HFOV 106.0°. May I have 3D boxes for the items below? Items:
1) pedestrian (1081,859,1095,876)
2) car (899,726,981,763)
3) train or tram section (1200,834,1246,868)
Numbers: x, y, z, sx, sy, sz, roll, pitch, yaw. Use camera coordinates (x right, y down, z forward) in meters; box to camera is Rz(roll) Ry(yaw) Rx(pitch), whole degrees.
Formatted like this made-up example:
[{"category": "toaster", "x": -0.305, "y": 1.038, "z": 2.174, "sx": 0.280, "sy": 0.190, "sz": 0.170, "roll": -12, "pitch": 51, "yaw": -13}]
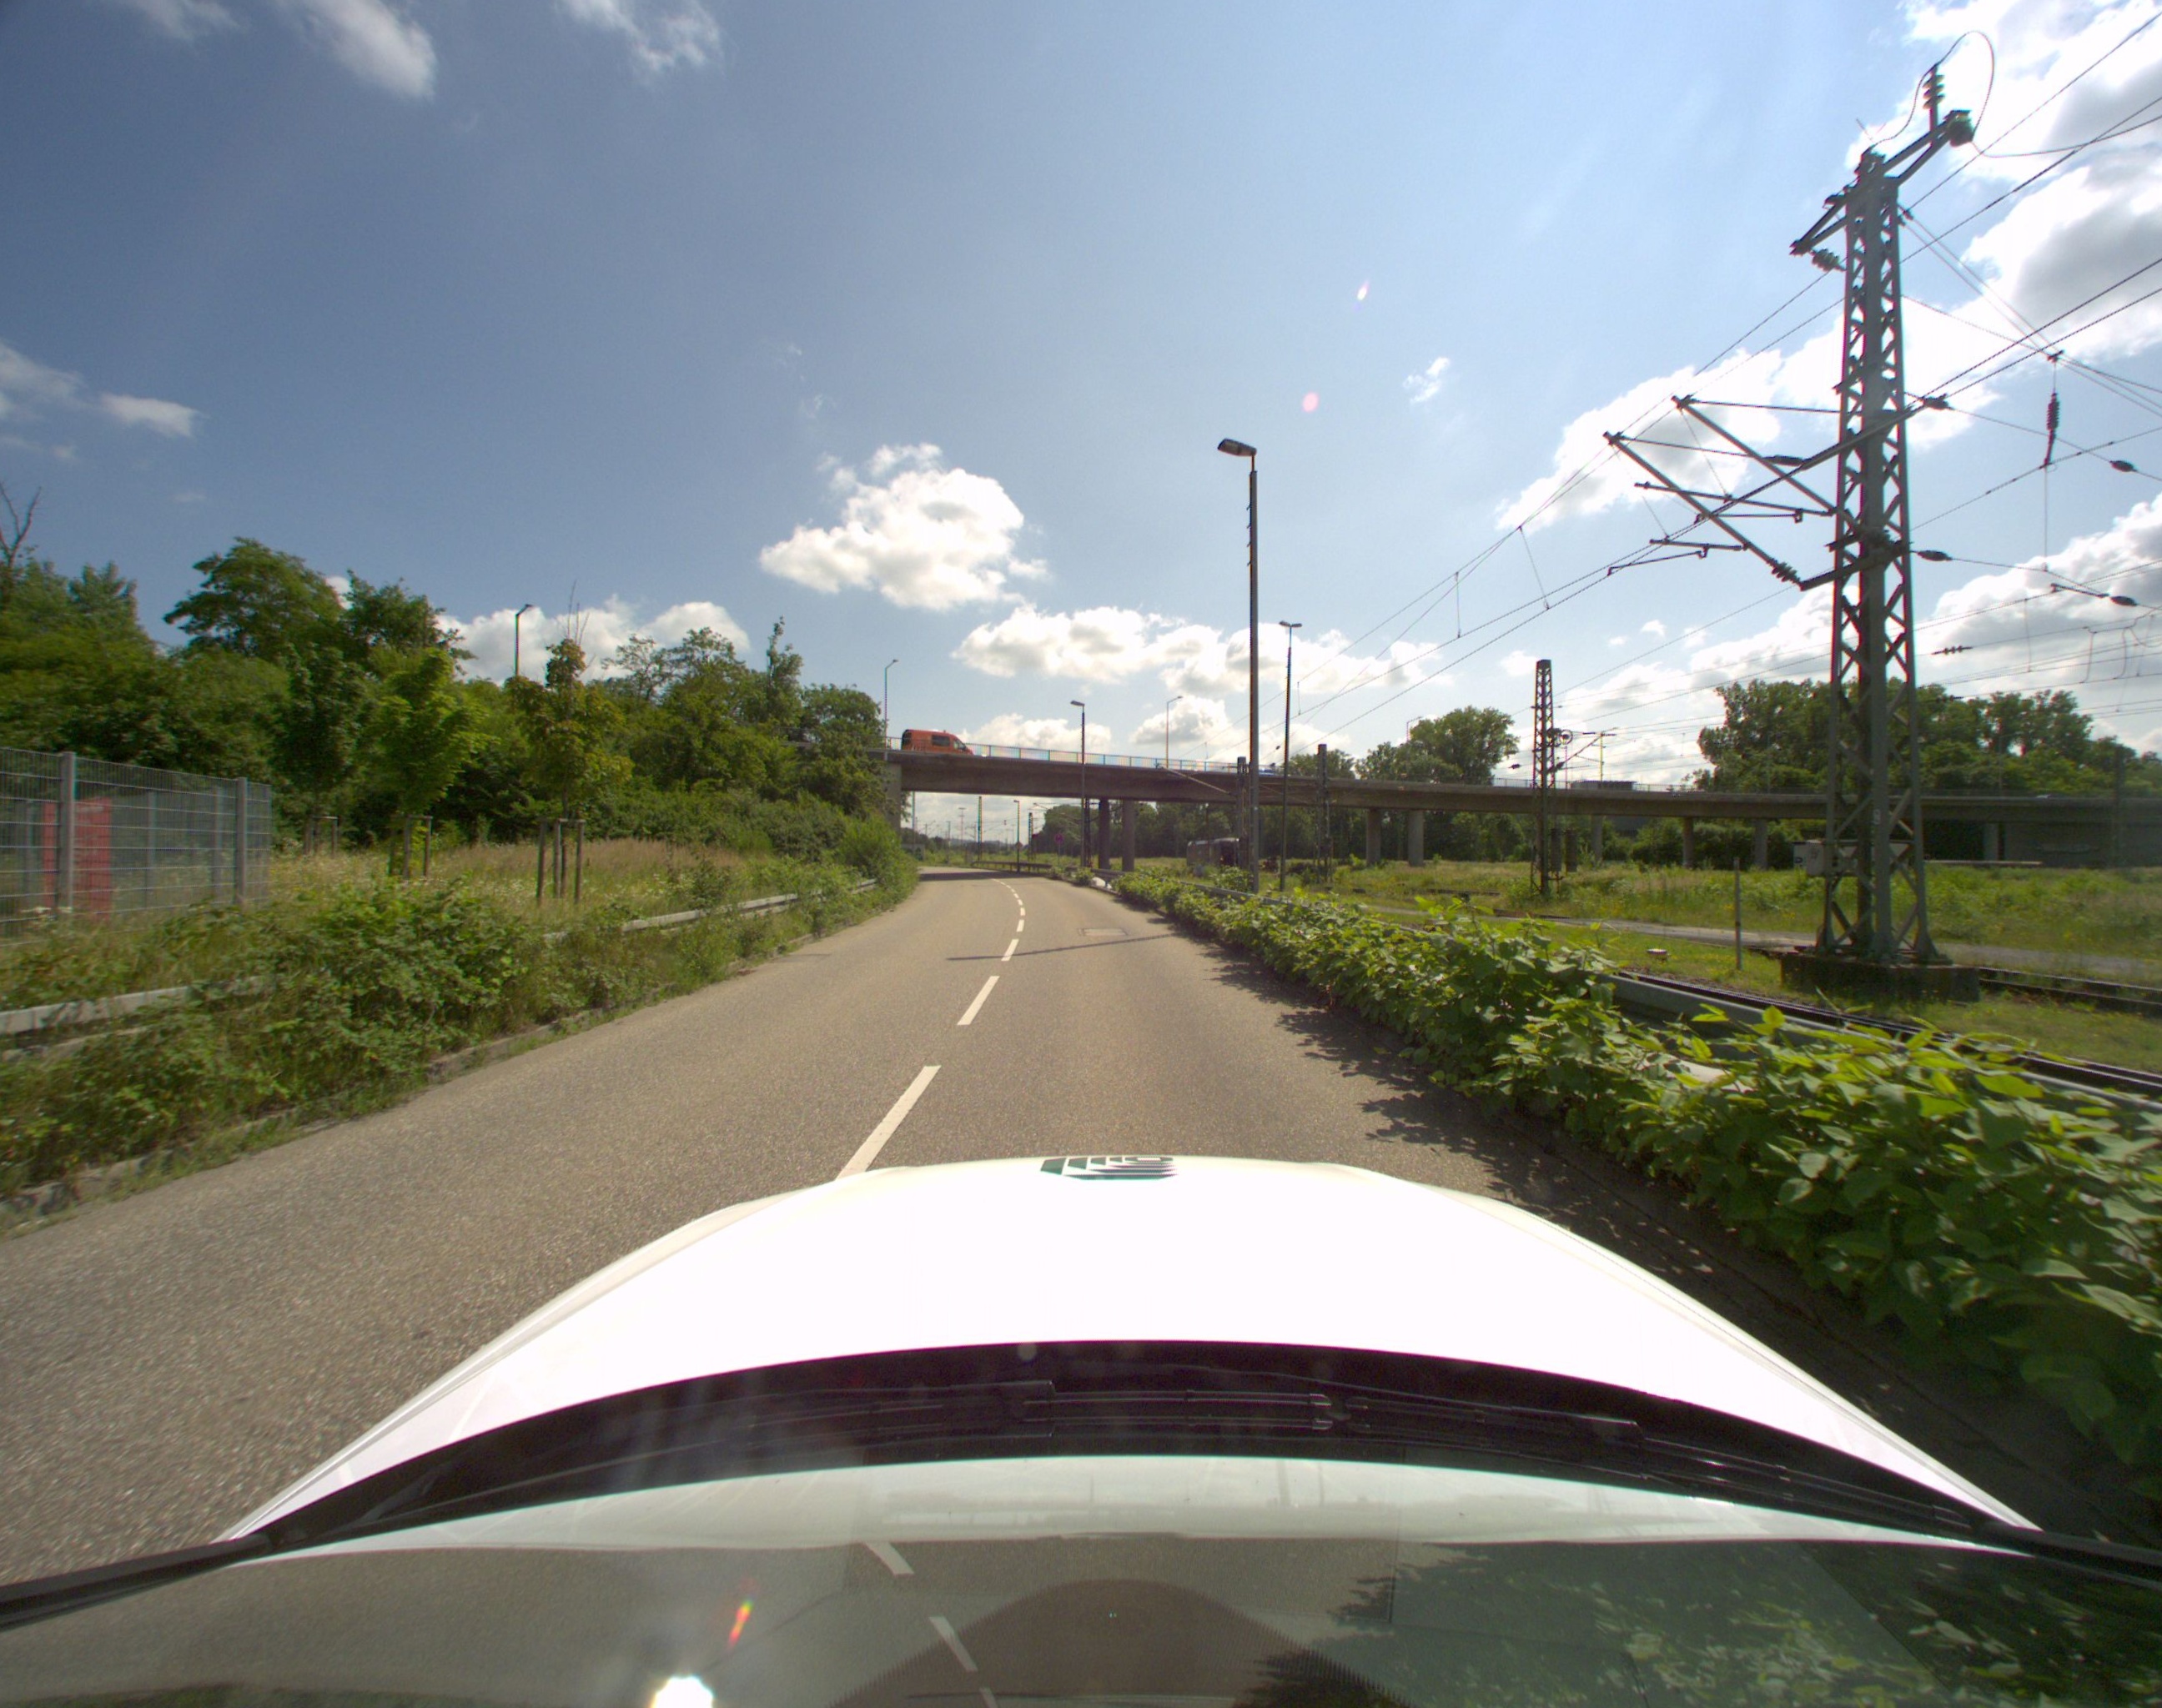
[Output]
[{"category": "pedestrian", "x": 0.694, "y": 1.279, "z": 77.672, "sx": 1.109, "sy": 1.540, "sz": 1.575, "roll": 0, "pitch": -1, "yaw": -8}, {"category": "car", "x": -10.051, "y": -7.765, "z": 58.182, "sx": 5.358, "sy": 2.014, "sz": 1.979, "roll": -1, "pitch": -2, "yaw": -34}, {"category": "train or tram section", "x": 15.457, "y": -0.247, "z": 89.122, "sx": 2.886, "sy": 3.509, "sz": 8.549, "roll": 0, "pitch": -1, "yaw": -5}]
